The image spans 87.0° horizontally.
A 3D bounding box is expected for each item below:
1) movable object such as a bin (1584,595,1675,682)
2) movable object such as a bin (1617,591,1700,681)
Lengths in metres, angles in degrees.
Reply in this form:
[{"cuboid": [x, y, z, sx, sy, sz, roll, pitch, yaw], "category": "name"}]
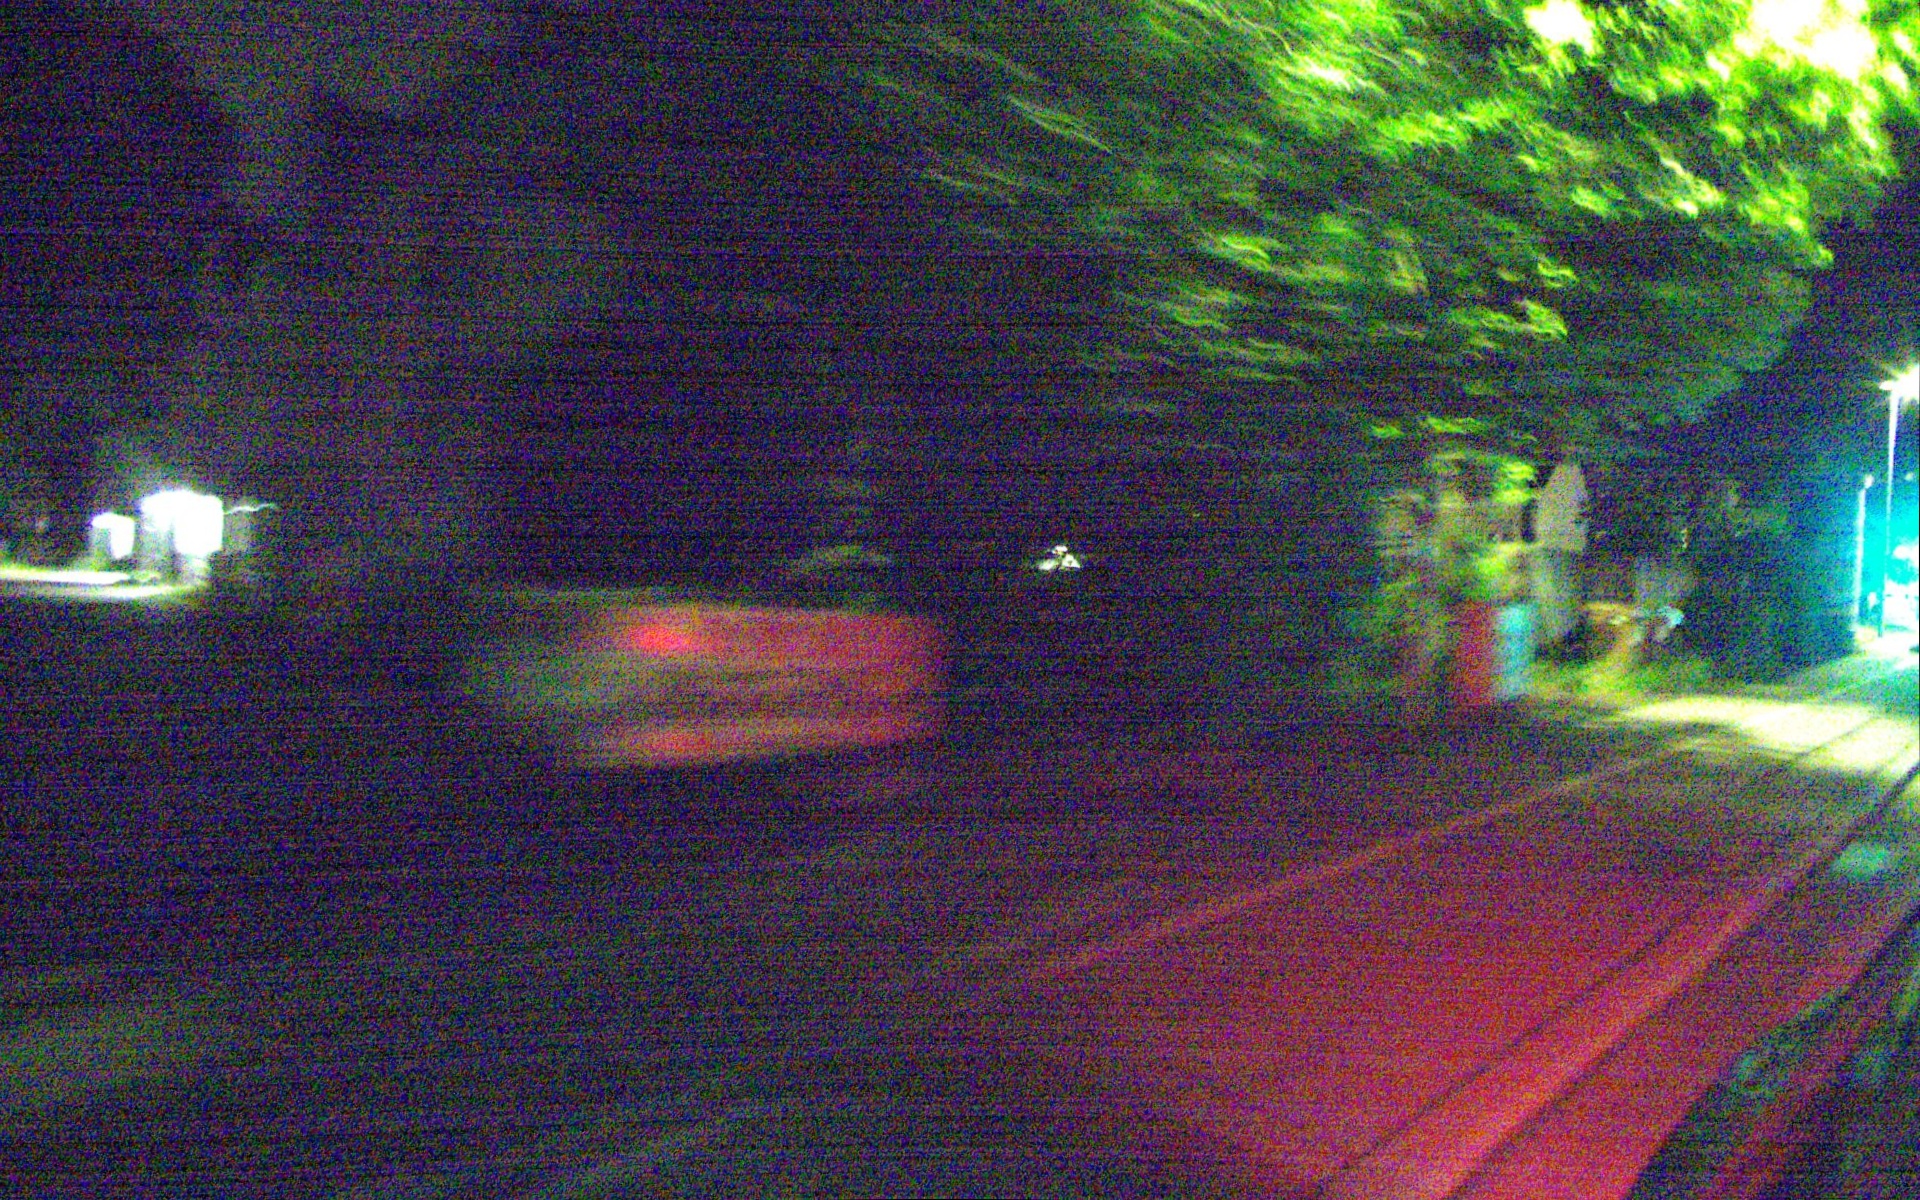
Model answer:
[{"cuboid": [9.226, 0.509, 13.944, 0.876, 1.135, 0.726, 1, 1, -33], "category": "movable object such as a bin"}, {"cuboid": [9.930, 0.498, 14.392, 0.706, 1.215, 0.727, 1, 1, -33], "category": "movable object such as a bin"}]
